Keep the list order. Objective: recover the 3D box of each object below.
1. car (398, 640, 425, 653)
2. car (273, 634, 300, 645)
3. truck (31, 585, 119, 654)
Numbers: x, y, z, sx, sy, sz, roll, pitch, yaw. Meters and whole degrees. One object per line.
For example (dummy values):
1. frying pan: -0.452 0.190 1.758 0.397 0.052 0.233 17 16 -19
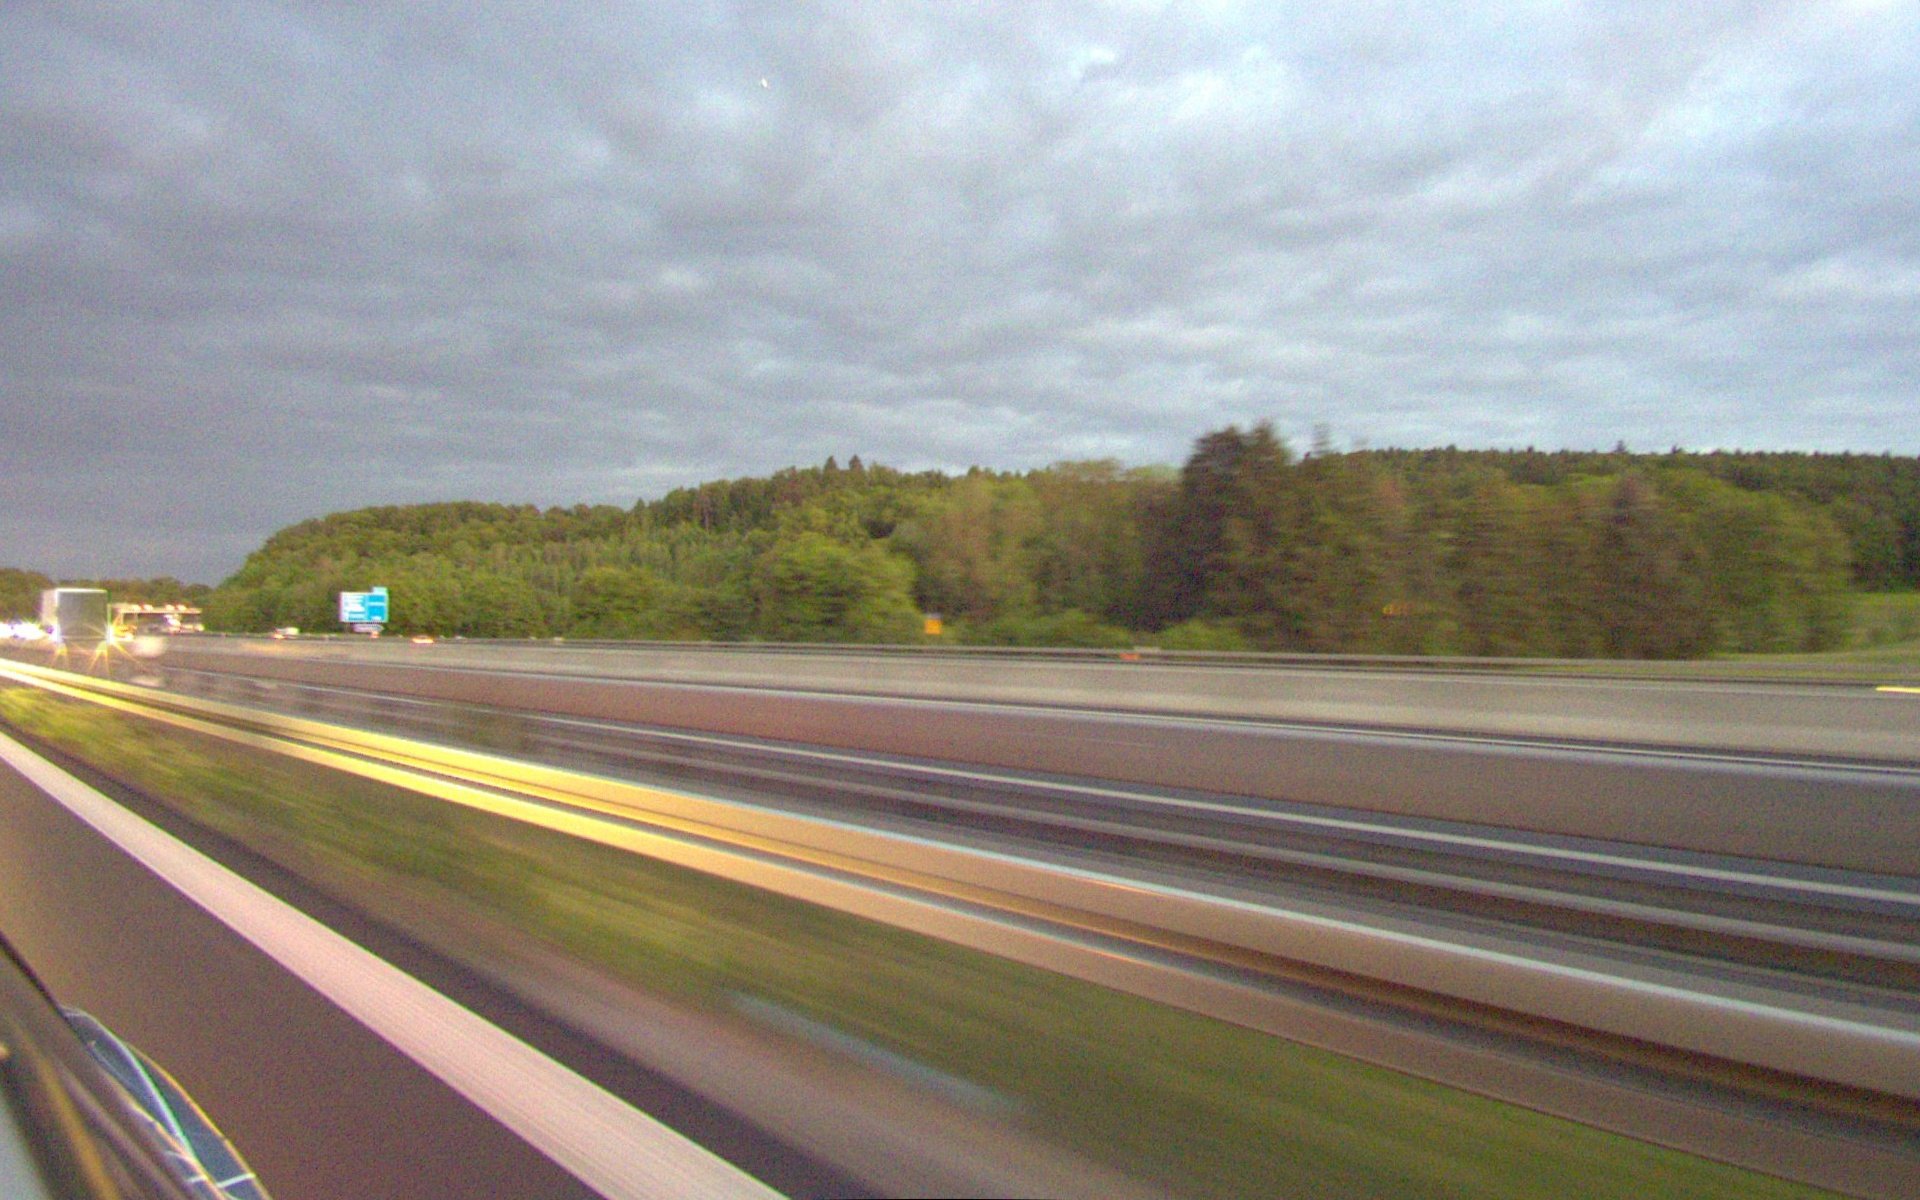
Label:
1. car: -72.519 6.139 133.754 4.307 1.608 1.748 -2 -3 41
2. car: -94.008 5.476 141.291 4.461 1.454 1.818 -1 -3 39
3. truck: -59.401 1.335 67.809 9.886 4.334 3.006 -1 -3 41
